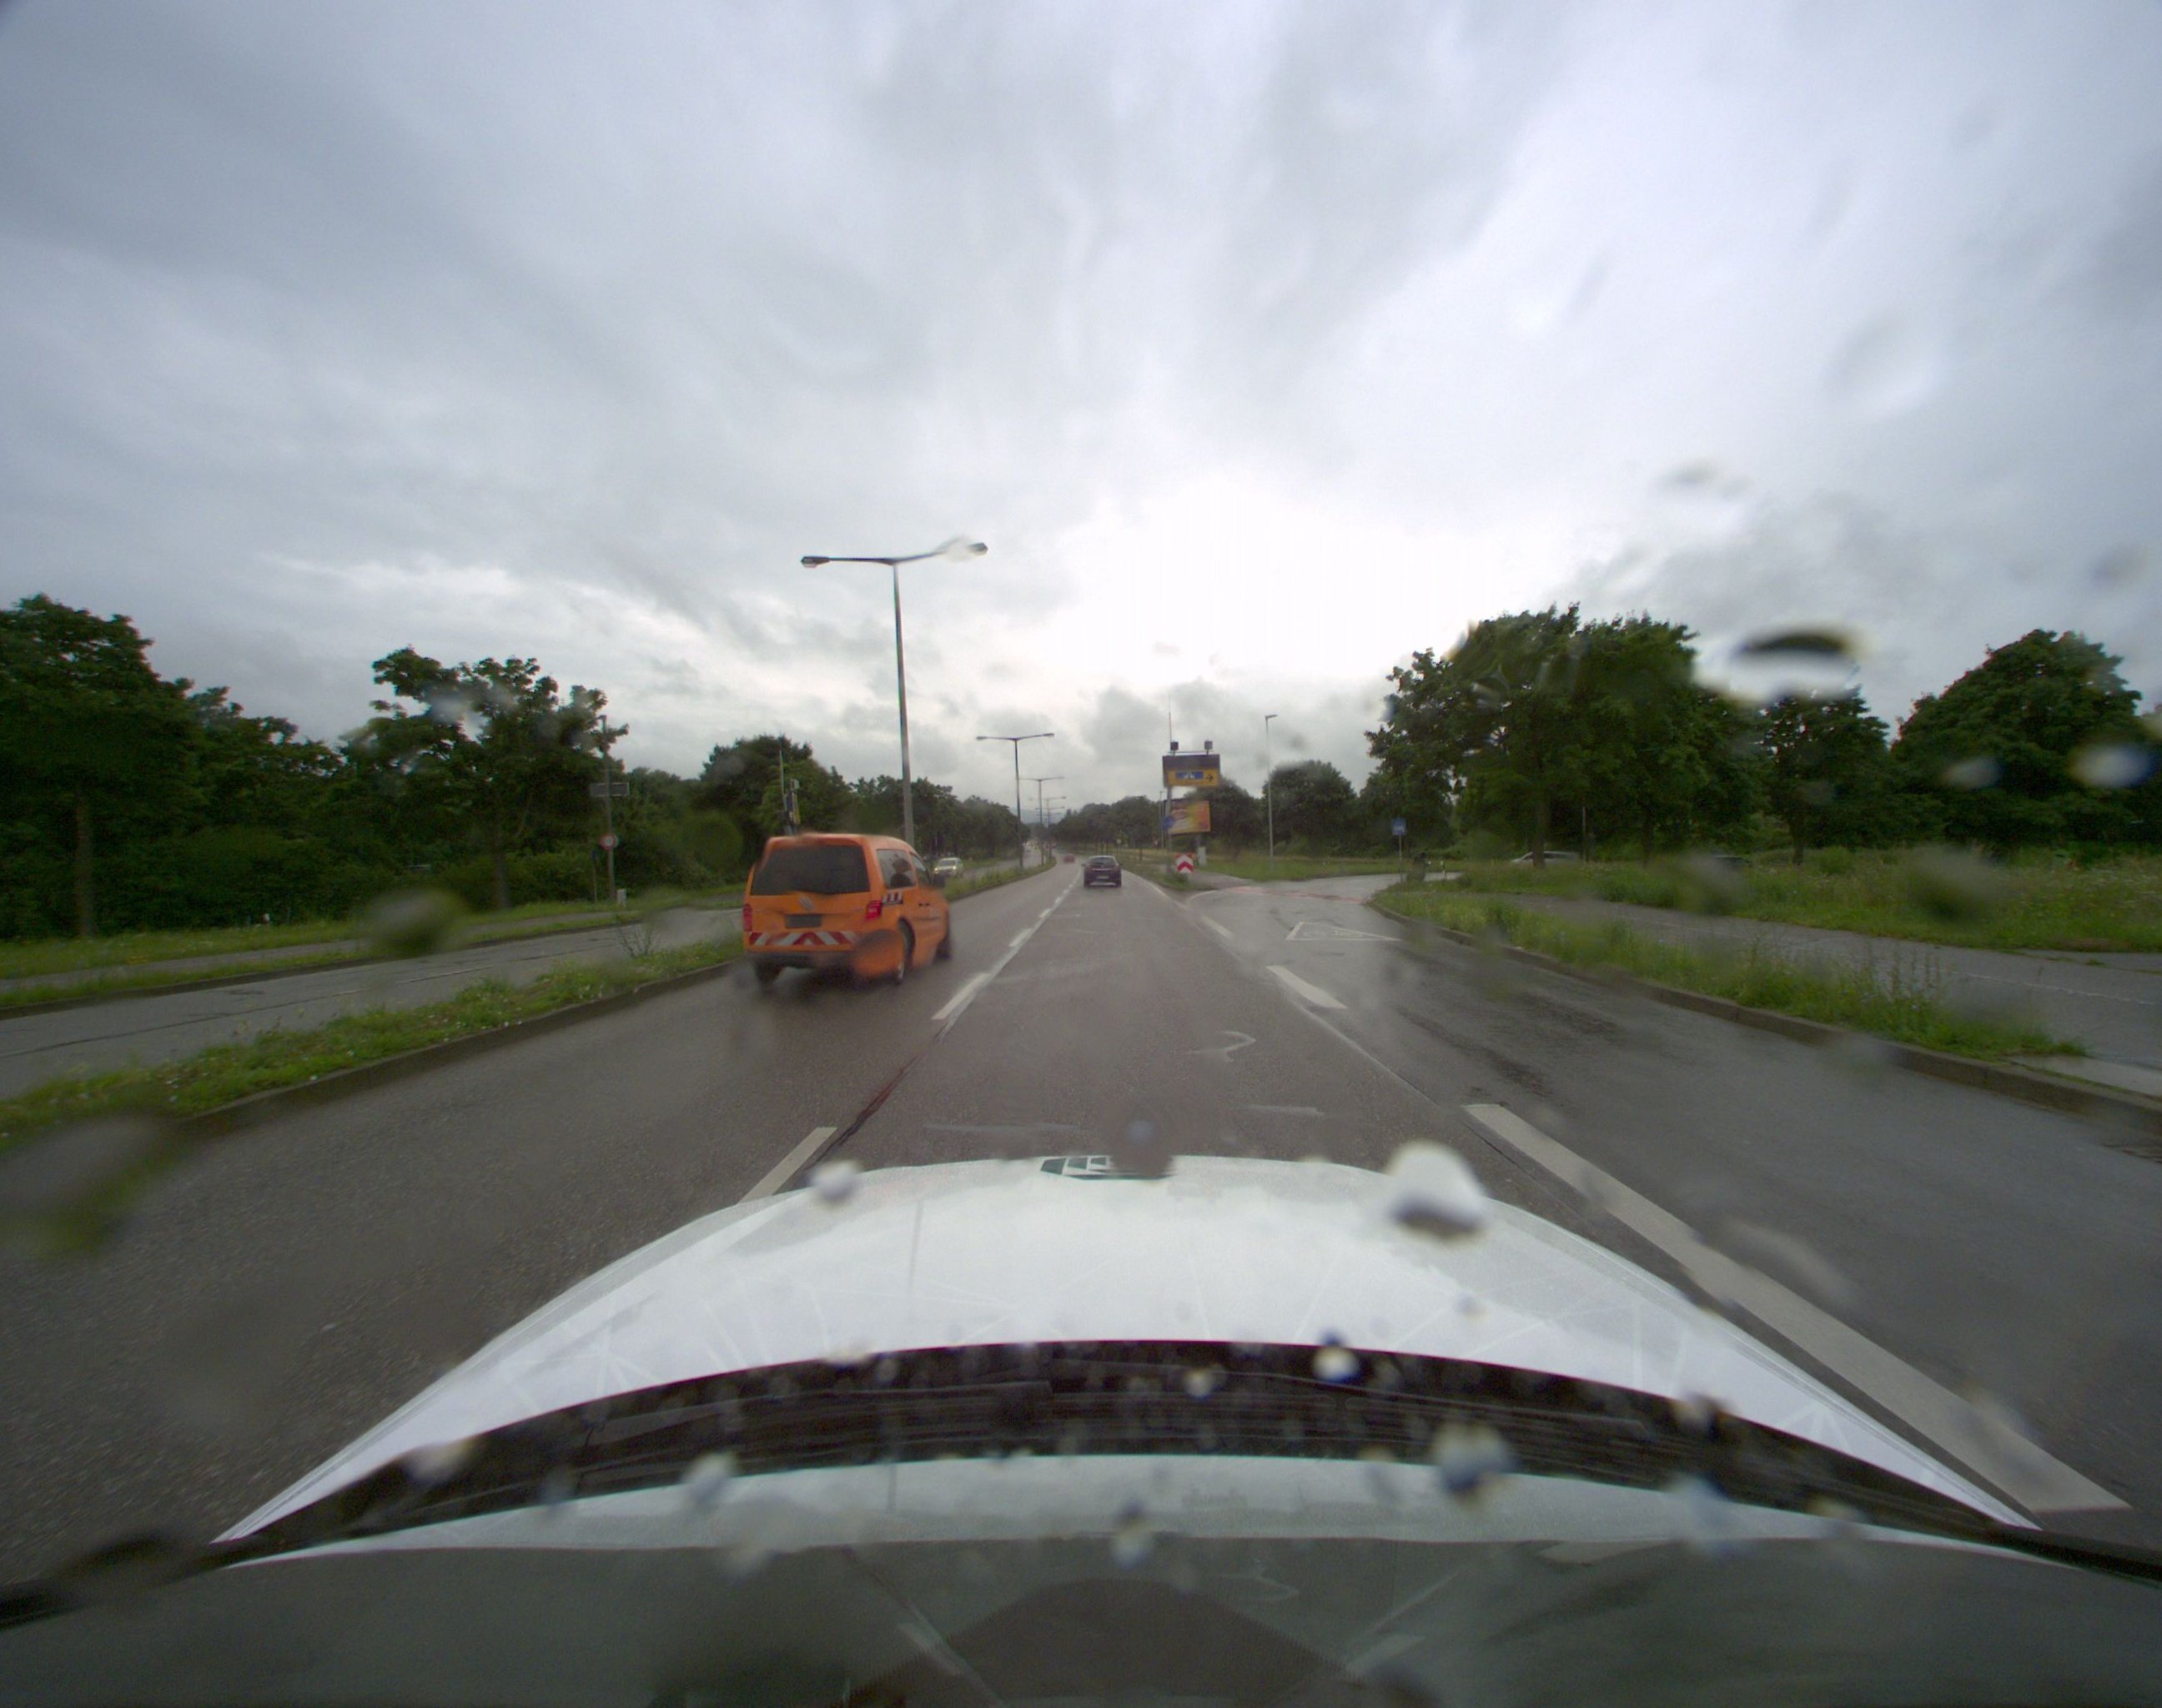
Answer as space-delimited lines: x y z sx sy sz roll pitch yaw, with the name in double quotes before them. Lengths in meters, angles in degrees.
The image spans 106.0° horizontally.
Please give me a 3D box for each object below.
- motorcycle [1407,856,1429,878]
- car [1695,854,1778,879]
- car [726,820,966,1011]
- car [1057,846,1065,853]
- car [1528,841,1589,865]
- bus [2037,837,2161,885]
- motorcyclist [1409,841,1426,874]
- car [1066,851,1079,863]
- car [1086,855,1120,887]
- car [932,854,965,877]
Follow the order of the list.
"motorcycle" 17.584 0.649 42.509 0.595 1.093 1.743 -1 1 38
"car" 43.553 0.819 54.183 3.971 1.618 1.862 -1 0 2
"car" -2.847 0.658 11.104 1.728 2.019 4.850 0 0 1
"car" -6.336 -1.456 257.196 2.510 2.052 5.287 -2 0 -3
"car" 42.727 -0.078 72.904 4.549 1.974 2.079 -1 0 34
"bus" 65.221 0.271 45.928 14.402 2.679 2.781 -2 0 32
"motorcyclist" 17.563 0.166 42.487 0.595 1.690 0.866 -1 1 38
"car" -1.323 0.445 129.688 1.987 1.879 4.000 -1 0 1
"car" 0.999 0.742 37.627 1.458 1.328 3.758 -1 1 0
"car" -10.387 0.897 64.197 1.701 1.629 4.492 -4 0 0
